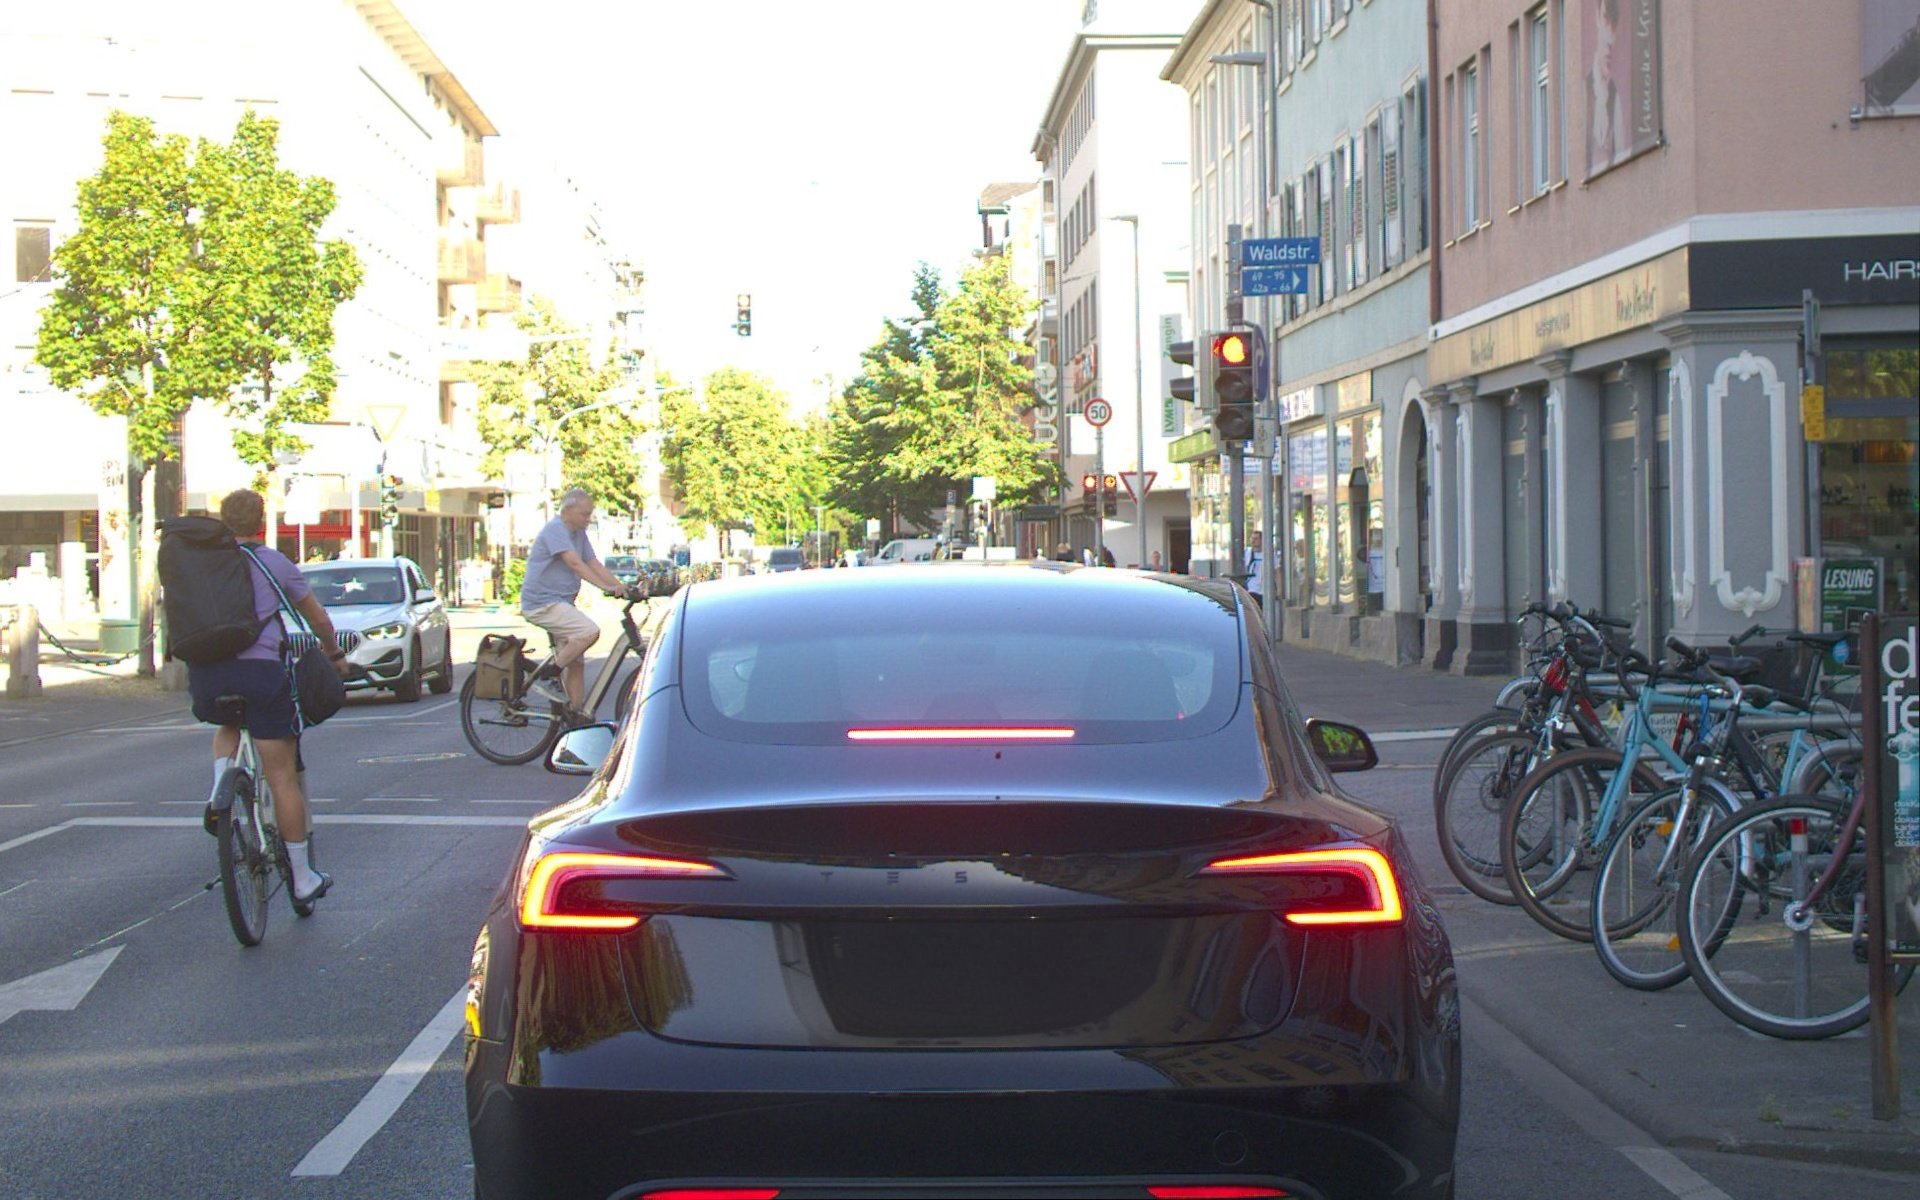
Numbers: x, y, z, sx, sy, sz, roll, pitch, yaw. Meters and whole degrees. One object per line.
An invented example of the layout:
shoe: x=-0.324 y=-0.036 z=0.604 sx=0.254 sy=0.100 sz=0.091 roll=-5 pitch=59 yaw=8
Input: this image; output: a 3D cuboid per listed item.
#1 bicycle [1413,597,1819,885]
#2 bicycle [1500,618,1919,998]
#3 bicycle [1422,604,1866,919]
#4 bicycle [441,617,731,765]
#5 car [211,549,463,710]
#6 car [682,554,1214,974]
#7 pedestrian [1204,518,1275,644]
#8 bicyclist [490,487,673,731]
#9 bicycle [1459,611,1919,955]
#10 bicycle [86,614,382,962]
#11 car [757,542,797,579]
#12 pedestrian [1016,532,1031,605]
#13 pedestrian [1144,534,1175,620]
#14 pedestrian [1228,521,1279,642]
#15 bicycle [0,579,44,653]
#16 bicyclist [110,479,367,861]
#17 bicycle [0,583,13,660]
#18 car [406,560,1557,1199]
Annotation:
bicycle: x=2.808 y=0.597 z=14.775 sx=1.628 sy=1.156 sz=0.433 roll=-2 pitch=1 yaw=1
bicycle: x=2.629 y=0.662 z=11.213 sx=1.627 sy=1.156 sz=0.433 roll=-2 pitch=1 yaw=-1
bicycle: x=2.685 y=0.627 z=13.554 sx=1.627 sy=1.156 sz=0.433 roll=-2 pitch=1 yaw=-1
bicycle: x=-2.561 y=0.616 z=23.617 sx=1.864 sy=0.942 sz=0.628 roll=1 pitch=1 yaw=11
car: x=-6.759 y=0.279 z=37.711 sx=1.993 sy=1.535 sz=4.000 roll=-4 pitch=1 yaw=-1
car: x=-0.036 y=0.546 z=13.839 sx=1.850 sy=1.450 sz=3.786 roll=0 pitch=1 yaw=0
pedestrian: x=4.136 y=-0.284 z=50.916 sx=0.999 sy=1.844 sz=0.615 roll=0 pitch=1 yaw=-1
bicyclist: x=-2.595 y=0.053 z=23.627 sx=1.120 sy=1.648 sz=0.628 roll=0 pitch=1 yaw=11
bicycle: x=2.671 y=0.650 z=12.443 sx=1.627 sy=1.156 sz=0.433 roll=-2 pitch=1 yaw=-1
bicycle: x=-2.787 y=0.686 z=13.378 sx=0.796 sy=1.228 sz=1.774 roll=0 pitch=1 yaw=-1
car: x=-8.625 y=-1.891 z=162.173 sx=1.829 sy=1.718 sz=4.000 roll=0 pitch=1 yaw=-2
pedestrian: x=1.745 y=-0.876 z=94.445 sx=0.384 sy=2.007 sz=0.297 roll=0 pitch=1 yaw=-1
pedestrian: x=3.939 y=-0.459 z=67.881 sx=0.570 sy=1.685 sz=0.387 roll=0 pitch=1 yaw=-1
pedestrian: x=4.347 y=-0.274 z=50.878 sx=0.704 sy=1.777 sz=0.533 roll=0 pitch=1 yaw=-1
bicycle: x=-15.058 y=0.235 z=52.185 sx=2.082 sy=1.100 sz=0.806 roll=0 pitch=1 yaw=-1
bicyclist: x=-2.787 y=0.255 z=13.372 sx=0.796 sy=1.430 sz=1.008 roll=0 pitch=1 yaw=-1
bicycle: x=-14.919 y=0.306 z=49.992 sx=2.082 sy=1.100 sz=0.806 roll=0 pitch=1 yaw=-1
car: x=0.040 y=0.646 z=7.423 sx=1.850 sy=1.450 sz=3.786 roll=0 pitch=1 yaw=0
